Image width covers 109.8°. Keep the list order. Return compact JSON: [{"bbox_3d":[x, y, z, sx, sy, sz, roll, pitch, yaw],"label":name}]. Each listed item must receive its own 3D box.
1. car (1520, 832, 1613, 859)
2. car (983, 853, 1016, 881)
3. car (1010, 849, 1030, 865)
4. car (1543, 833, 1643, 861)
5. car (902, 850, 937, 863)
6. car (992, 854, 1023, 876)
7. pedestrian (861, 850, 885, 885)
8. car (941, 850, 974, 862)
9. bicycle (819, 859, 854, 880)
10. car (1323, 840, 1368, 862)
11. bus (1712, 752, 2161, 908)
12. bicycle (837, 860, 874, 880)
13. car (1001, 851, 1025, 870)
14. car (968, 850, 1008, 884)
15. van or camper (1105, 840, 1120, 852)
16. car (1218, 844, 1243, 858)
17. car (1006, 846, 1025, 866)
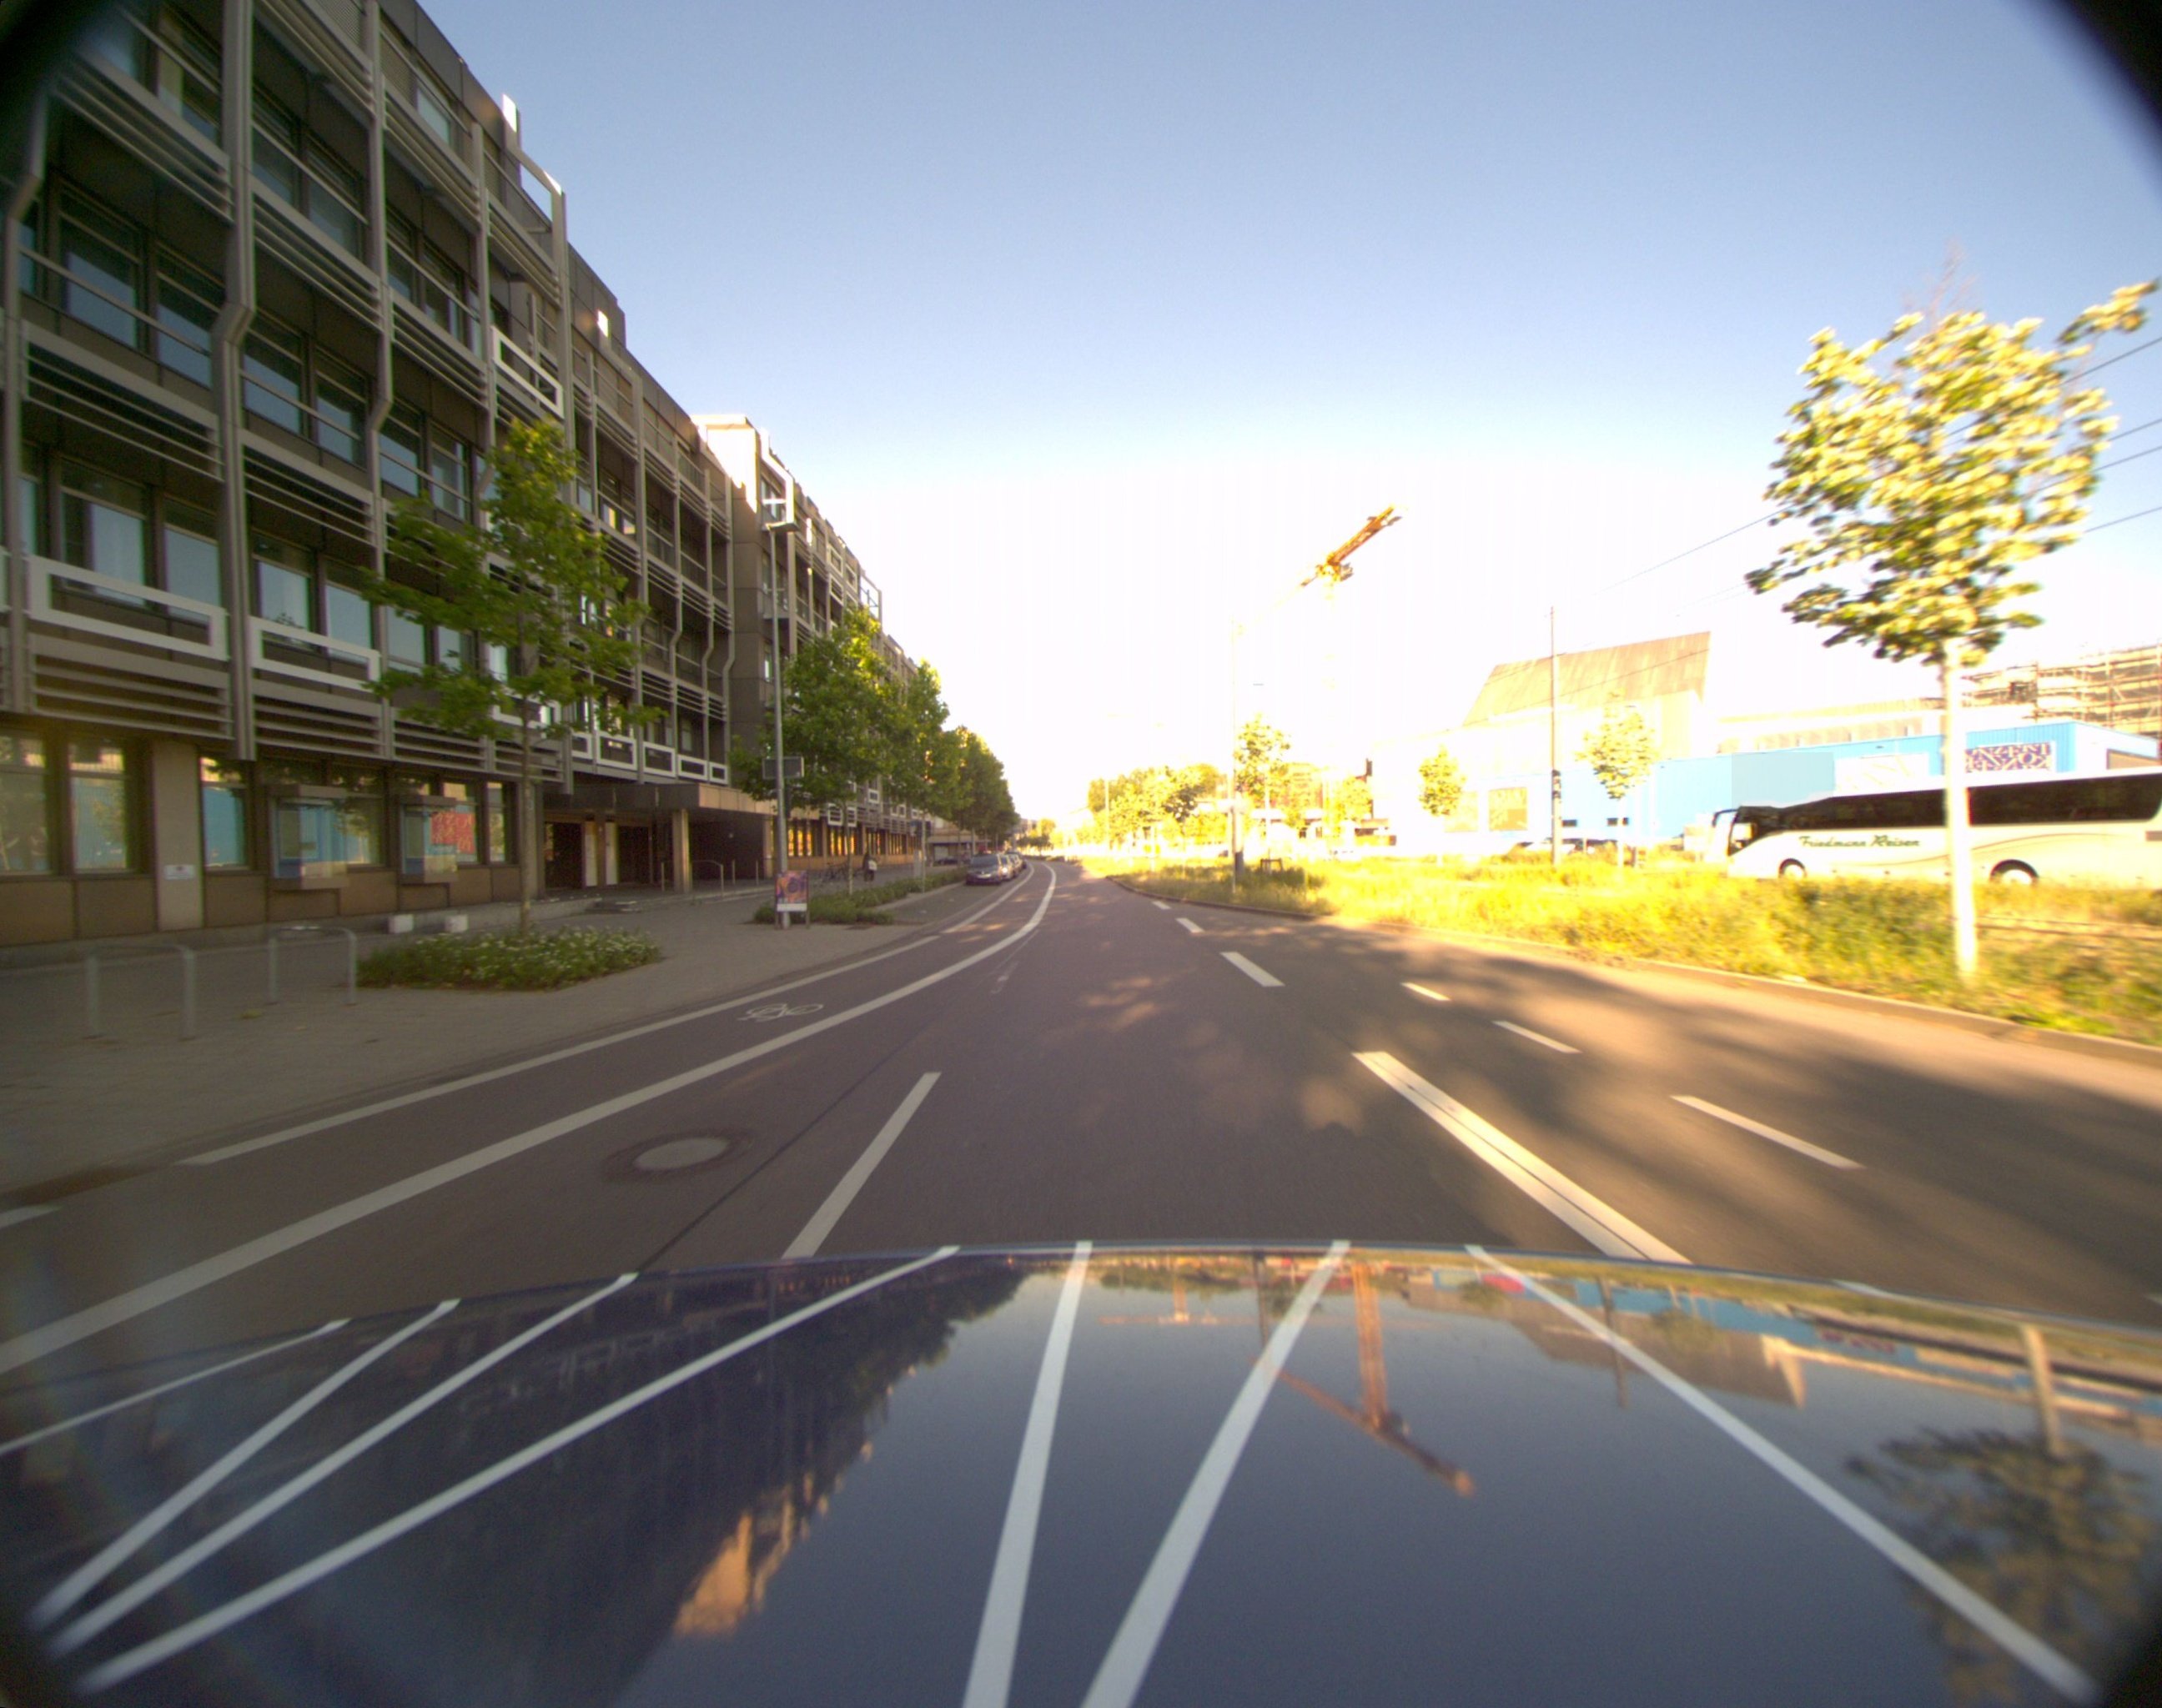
[{"bbox_3d":[34.063,-0.574,53.385,5.241,1.707,2.124,-2,1,-2],"label":"car"},{"bbox_3d":[-4.932,0.778,46.543,1.733,1.612,4.215,0,0,-2],"label":"car"},{"bbox_3d":[-6.473,0.321,80.291,1.937,1.589,4.695,0,0,-8],"label":"car"},{"bbox_3d":[34.039,-0.485,50.607,5.241,1.707,2.124,-2,1,-2],"label":"car"},{"bbox_3d":[-22.040,0.330,103.448,4.556,1.586,1.860,-2,2,-13],"label":"car"},{"bbox_3d":[-4.960,0.731,51.974,1.799,1.441,4.375,0,0,-1],"label":"car"},{"bbox_3d":[-9.906,0.646,36.184,0.791,1.639,1.136,-1,1,-1],"label":"pedestrian"},{"bbox_3d":[-16.983,0.228,104.637,4.276,1.442,1.860,-2,2,-13],"label":"car"},{"bbox_3d":[-12.613,0.801,39.198,1.631,1.076,0.392,-1,1,1],"label":"bicycle"},{"bbox_3d":[20.953,-0.266,60.306,1.999,1.633,4.166,-2,1,-1],"label":"car"},{"bbox_3d":[26.125,-0.647,23.290,2.806,3.574,12.695,-2,1,-1],"label":"bus"},{"bbox_3d":[-12.328,0.859,41.542,1.905,1.086,0.392,0,1,-7],"label":"bicycle"},{"bbox_3d":[-5.644,0.502,63.053,1.668,1.481,4.203,0,0,-1],"label":"car"},{"bbox_3d":[-4.921,0.645,40.499,1.733,1.678,4.513,0,0,-2],"label":"car"},{"bbox_3d":[7.374,-1.858,179.504,2.229,2.495,7.195,0,0,-8],"label":"van or camper"},{"bbox_3d":[18.067,-0.363,91.830,1.999,1.641,4.269,-2,1,-2],"label":"car"},{"bbox_3d":[-6.243,0.177,72.894,1.739,1.908,4.391,0,0,-4],"label":"car"}]
